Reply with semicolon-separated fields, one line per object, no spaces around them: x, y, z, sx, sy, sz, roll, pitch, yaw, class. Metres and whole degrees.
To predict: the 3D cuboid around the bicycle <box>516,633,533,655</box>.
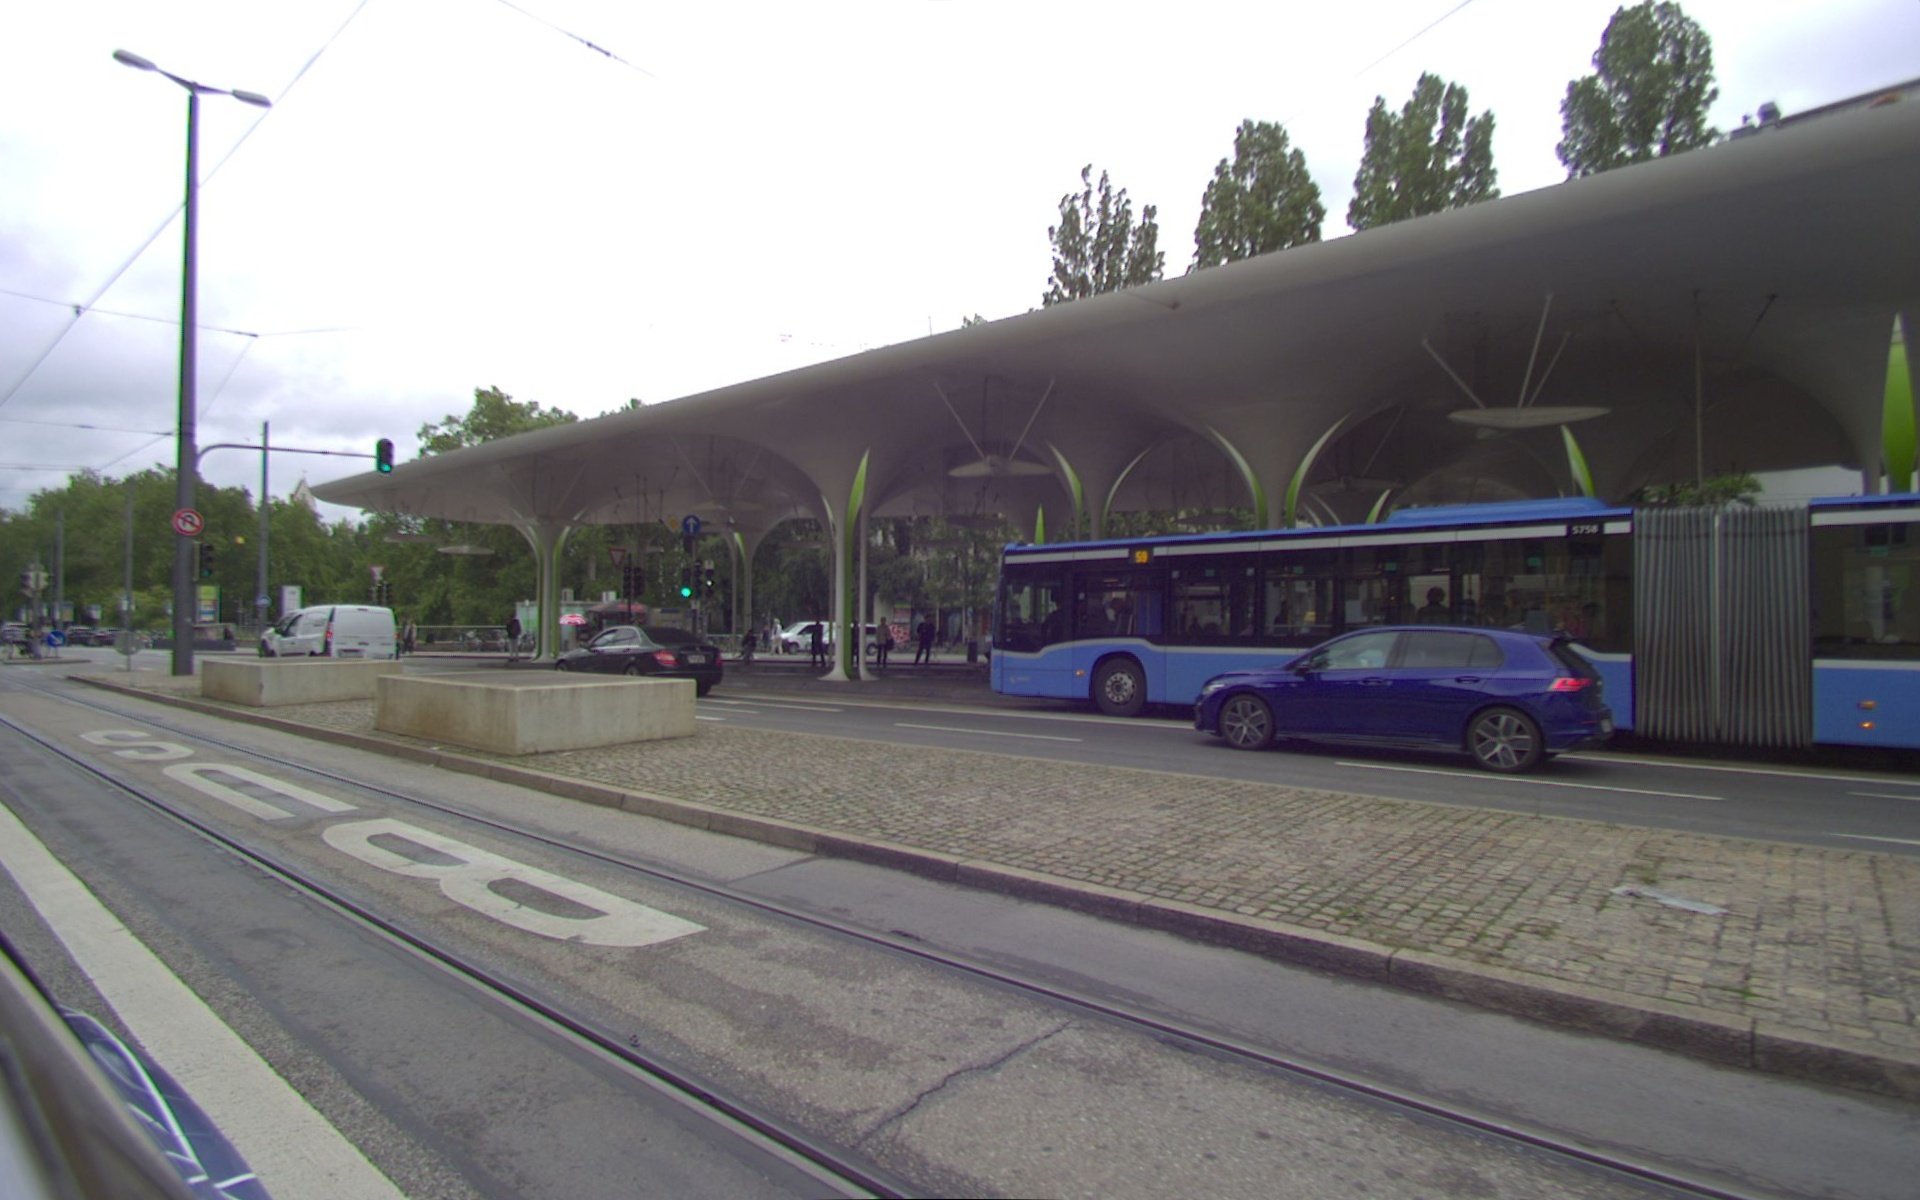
-23.351;2.348;54.262;0.472;1.104;1.854;1;-2;-35;bicycle

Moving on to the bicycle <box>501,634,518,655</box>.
-23.966;2.366;53.851;0.472;1.104;1.854;1;-2;-35;bicycle

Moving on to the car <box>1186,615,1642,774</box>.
4.757;0.904;10.962;4.228;1.406;1.661;-1;-3;40;car

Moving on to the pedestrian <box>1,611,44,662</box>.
-33.683;1.295;36.374;0.891;1.825;0.855;0;0;22;pedestrian

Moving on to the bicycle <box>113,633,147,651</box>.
-56.154;2.808;68.463;0.560;1.181;1.675;-1;-2;31;bicycle

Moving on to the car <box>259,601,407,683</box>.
-15.464;1.018;24.893;4.213;1.869;1.768;-1;-3;39;car

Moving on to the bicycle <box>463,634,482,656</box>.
-25.388;2.319;52.676;0.472;1.104;1.853;1;-2;-38;bicycle

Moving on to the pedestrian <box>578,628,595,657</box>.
-20.940;2.385;56.742;0.728;1.612;0.799;1;-2;-34;pedestrian

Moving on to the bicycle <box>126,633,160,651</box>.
-54.587;2.768;67.598;0.560;1.181;1.675;-1;-2;31;bicycle

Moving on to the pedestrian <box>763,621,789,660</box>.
-9.786;2.136;53.885;0.989;2.029;1.028;1;-2;-43;pedestrian

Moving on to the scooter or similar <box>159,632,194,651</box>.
-50.407;2.659;65.128;0.558;1.181;1.681;-1;-2;22;scooter or similar

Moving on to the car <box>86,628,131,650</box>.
-61.742;2.825;73.335;4.230;1.537;1.840;-2;-3;41;car

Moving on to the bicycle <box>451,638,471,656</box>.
-25.820;2.404;52.340;0.473;0.901;1.852;1;-2;-41;bicycle

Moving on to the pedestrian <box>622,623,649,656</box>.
-17.310;2.094;53.957;0.956;1.776;1.018;-2;-2;41;pedestrian

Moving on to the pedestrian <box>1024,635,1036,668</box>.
4.359;3.202;62.864;0.457;2.029;0.575;-2;0;38;pedestrian

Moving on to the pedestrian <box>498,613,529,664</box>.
-16.413;1.409;37.191;0.801;1.853;0.664;0;-2;8;pedestrian

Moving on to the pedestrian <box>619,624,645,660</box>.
-14.756;1.888;45.535;0.831;1.622;0.745;0;-2;12;pedestrian

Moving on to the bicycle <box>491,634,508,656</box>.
-24.367;2.378;53.522;0.472;1.104;1.854;1;-2;-35;bicycle

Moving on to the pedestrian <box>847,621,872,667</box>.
-3.437;1.507;34.544;0.633;1.557;0.589;-1;-2;24;pedestrian

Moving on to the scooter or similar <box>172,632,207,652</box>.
-47.887;2.595;62.901;0.561;1.181;1.671;-2;-2;38;scooter or similar

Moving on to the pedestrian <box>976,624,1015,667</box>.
1.172;1.483;33.343;0.951;1.380;0.842;1;-2;-42;pedestrian

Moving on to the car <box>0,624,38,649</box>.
-66.766;2.562;71.420;4.674;1.651;1.844;-1;-4;40;car

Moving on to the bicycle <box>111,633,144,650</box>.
-56.614;2.820;68.825;0.504;1.181;1.674;-1;-2;33;bicycle

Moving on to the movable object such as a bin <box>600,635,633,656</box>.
-18.010;2.381;53.023;0.956;1.092;1.319;-2;-2;40;movable object such as a bin

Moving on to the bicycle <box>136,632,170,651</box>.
-53.483;2.739;67.098;0.560;1.181;1.675;-1;-2;31;bicycle

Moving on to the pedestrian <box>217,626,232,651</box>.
-47.789;2.493;65.748;0.588;1.570;0.624;-2;-3;40;pedestrian

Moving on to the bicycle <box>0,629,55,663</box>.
-33.856;1.630;36.204;0.503;1.159;2.216;0;0;21;bicycle

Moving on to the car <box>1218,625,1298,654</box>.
19.983;2.638;67.866;4.726;1.934;2.004;0;-2;-10;car

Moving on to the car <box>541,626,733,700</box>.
-6.863;1.246;21.241;4.610;1.389;1.656;-1;-2;40;car

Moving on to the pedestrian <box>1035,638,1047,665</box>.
4.997;3.186;62.428;0.457;1.638;0.575;-2;0;38;pedestrian

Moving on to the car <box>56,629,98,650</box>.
-69.572;3.098;79.741;4.099;1.582;1.973;-2;-2;41;car

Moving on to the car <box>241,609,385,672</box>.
-21.207;1.306;33.044;6.150;1.902;2.153;-1;-3;40;car

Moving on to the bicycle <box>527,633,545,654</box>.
-22.854;2.334;54.554;0.472;1.104;1.854;1;-2;-35;bicycle

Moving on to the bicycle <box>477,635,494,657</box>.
-24.895;2.393;53.072;0.472;1.104;1.854;1;-2;-35;bicycle

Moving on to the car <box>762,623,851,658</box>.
-8.899;2.328;58.931;4.852;1.962;1.874;1;-2;-38;car

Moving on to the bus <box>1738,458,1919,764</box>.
12.121;0.123;9.456;7.510;3.031;2.632;-2;-4;42;bus

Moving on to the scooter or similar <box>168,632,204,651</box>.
-48.739;2.617;63.725;0.561;1.181;1.671;-2;-2;38;scooter or similar

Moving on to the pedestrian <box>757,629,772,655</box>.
-12.059;2.601;62.473;0.636;1.594;0.627;-1;-2;41;pedestrian

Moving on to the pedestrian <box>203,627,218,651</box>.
-48.192;2.506;65.049;0.588;1.570;0.624;-2;-3;40;pedestrian

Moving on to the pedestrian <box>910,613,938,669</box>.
-1.259;1.413;35.157;0.701;1.887;0.881;0;-2;-21;pedestrian

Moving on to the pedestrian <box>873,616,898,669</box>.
-2.473;1.403;33.629;0.661;1.741;0.813;1;-2;-18;pedestrian

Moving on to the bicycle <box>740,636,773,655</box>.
-12.452;2.760;61.846;2.523;1.138;0.635;-1;-2;42;bicycle

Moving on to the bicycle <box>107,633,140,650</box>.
-57.188;2.835;69.225;0.504;1.181;1.674;-1;-2;34;bicycle

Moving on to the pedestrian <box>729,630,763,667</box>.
-7.543;1.693;35.651;0.799;1.239;1.274;1;-2;-30;pedestrian

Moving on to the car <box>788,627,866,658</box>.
-7.336;2.317;55.981;3.937;1.628;1.834;1;-2;-41;car

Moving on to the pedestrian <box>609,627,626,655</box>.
-19.537;2.345;57.761;0.728;1.612;0.799;1;-2;-34;pedestrian

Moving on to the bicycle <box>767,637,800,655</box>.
-11.029;2.865;63.236;2.523;1.138;0.635;-1;-2;42;bicycle

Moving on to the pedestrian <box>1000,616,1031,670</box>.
1.907;1.469;34.823;0.782;1.802;0.754;-2;-2;44;pedestrian

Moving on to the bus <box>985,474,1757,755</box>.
5.311;0.306;15.319;10.507;3.031;2.633;-1;-4;40;bus
